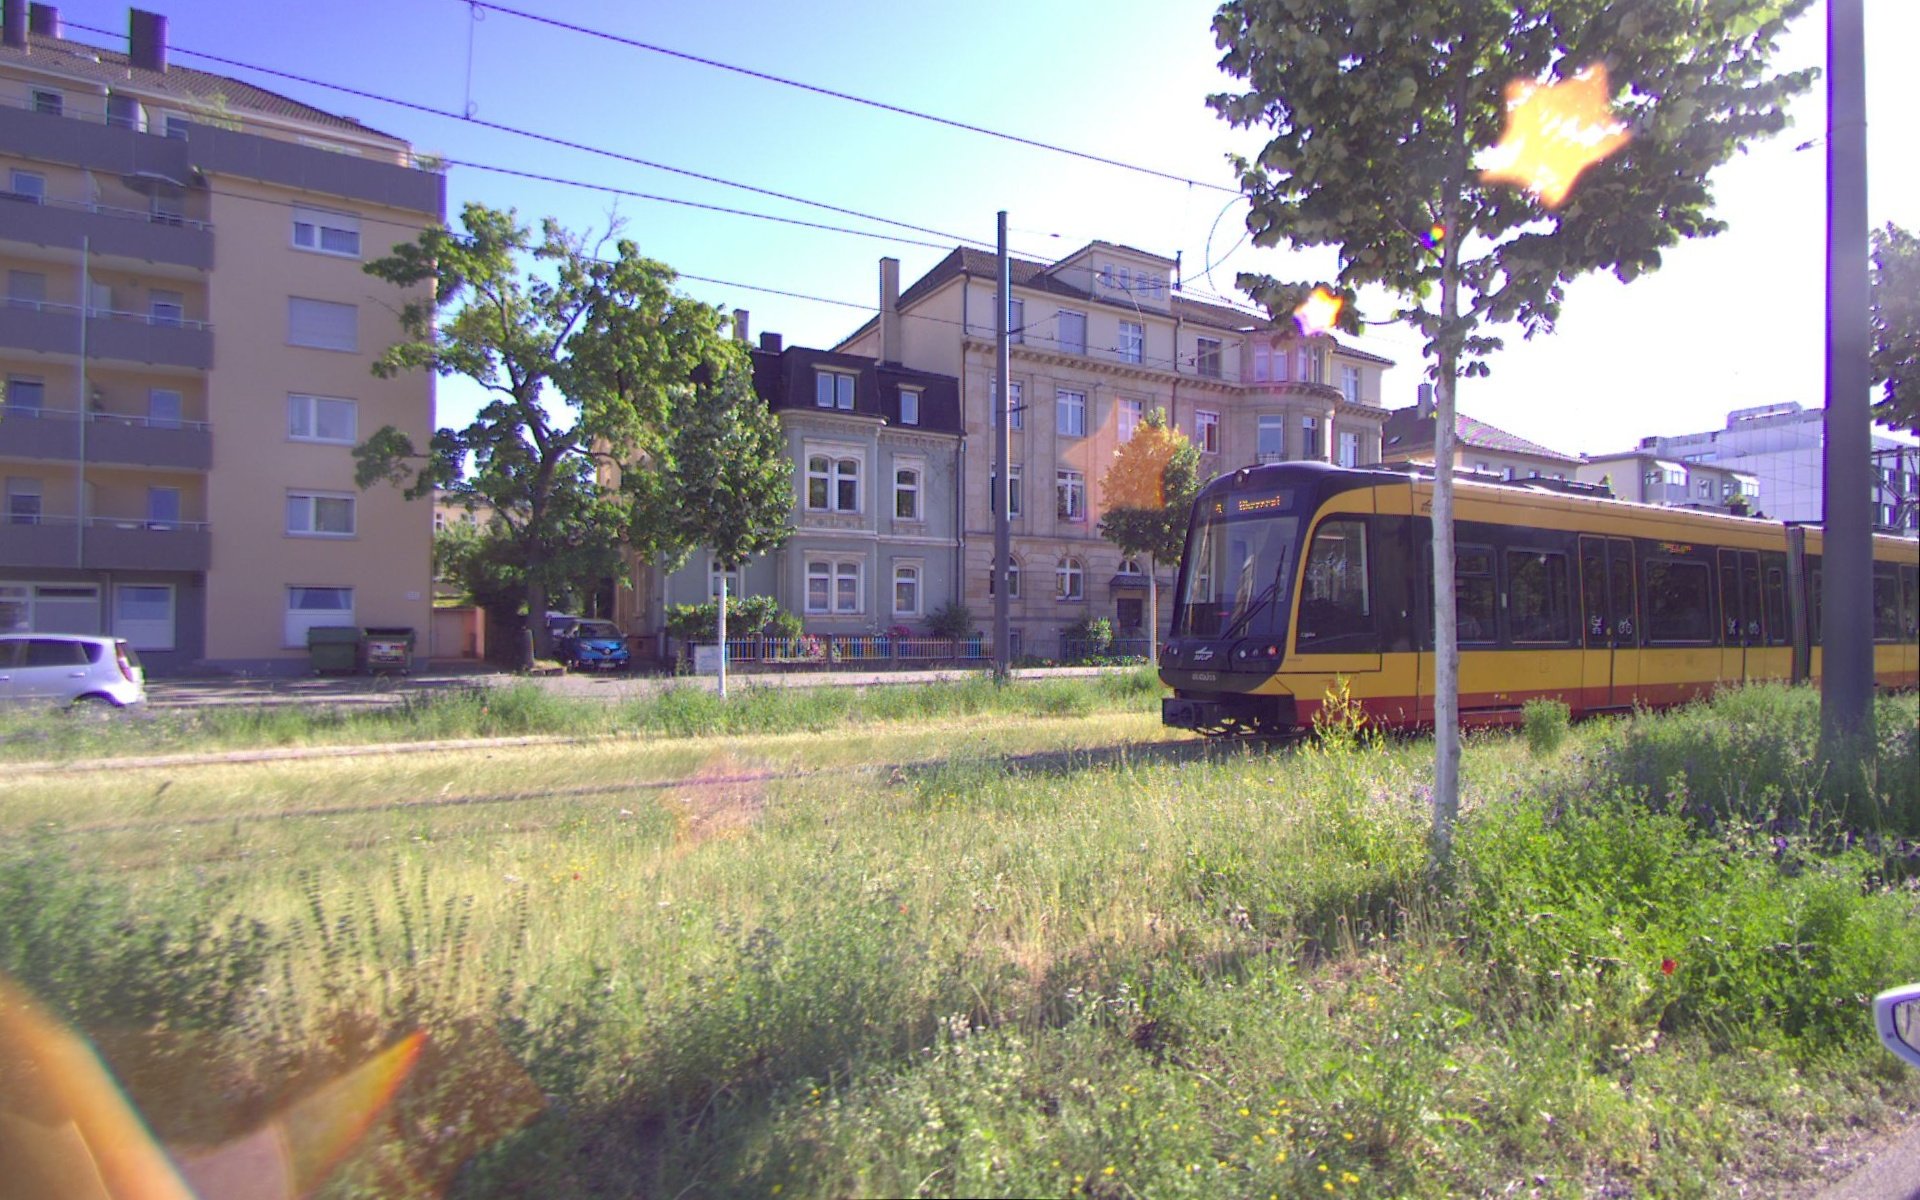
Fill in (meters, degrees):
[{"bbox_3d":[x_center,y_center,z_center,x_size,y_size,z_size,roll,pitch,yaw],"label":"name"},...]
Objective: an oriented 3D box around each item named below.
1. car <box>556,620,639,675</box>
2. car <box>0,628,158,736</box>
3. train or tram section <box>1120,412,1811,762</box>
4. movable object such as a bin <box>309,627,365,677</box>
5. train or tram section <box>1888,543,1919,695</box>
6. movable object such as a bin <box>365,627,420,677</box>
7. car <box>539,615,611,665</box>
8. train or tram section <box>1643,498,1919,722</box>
[{"bbox_3d":[-12.364,1.566,34.120,1.894,1.750,3.966,1,-1,-32],"label":"car"},{"bbox_3d":[-15.335,1.273,15.948,3.963,1.623,1.728,1,-1,-37],"label":"car"},{"bbox_3d":[8.401,0.041,15.144,13.188,3.705,2.597,2,0,-31],"label":"train or tram section"},{"bbox_3d":[-18.143,1.498,29.305,1.311,1.388,1.258,1,-1,-30],"label":"movable object such as a bin"},{"bbox_3d":[29.281,0.626,27.810,9.857,3.906,2.599,2,0,-31],"label":"train or tram section"},{"bbox_3d":[-16.791,1.525,29.767,1.309,1.418,1.259,2,0,-27],"label":"movable object such as a bin"},{"bbox_3d":[-14.846,1.491,38.636,1.894,1.816,3.966,1,-1,-32],"label":"car"},{"bbox_3d":[19.574,0.343,21.881,12.942,3.872,2.597,2,0,-31],"label":"train or tram section"}]
